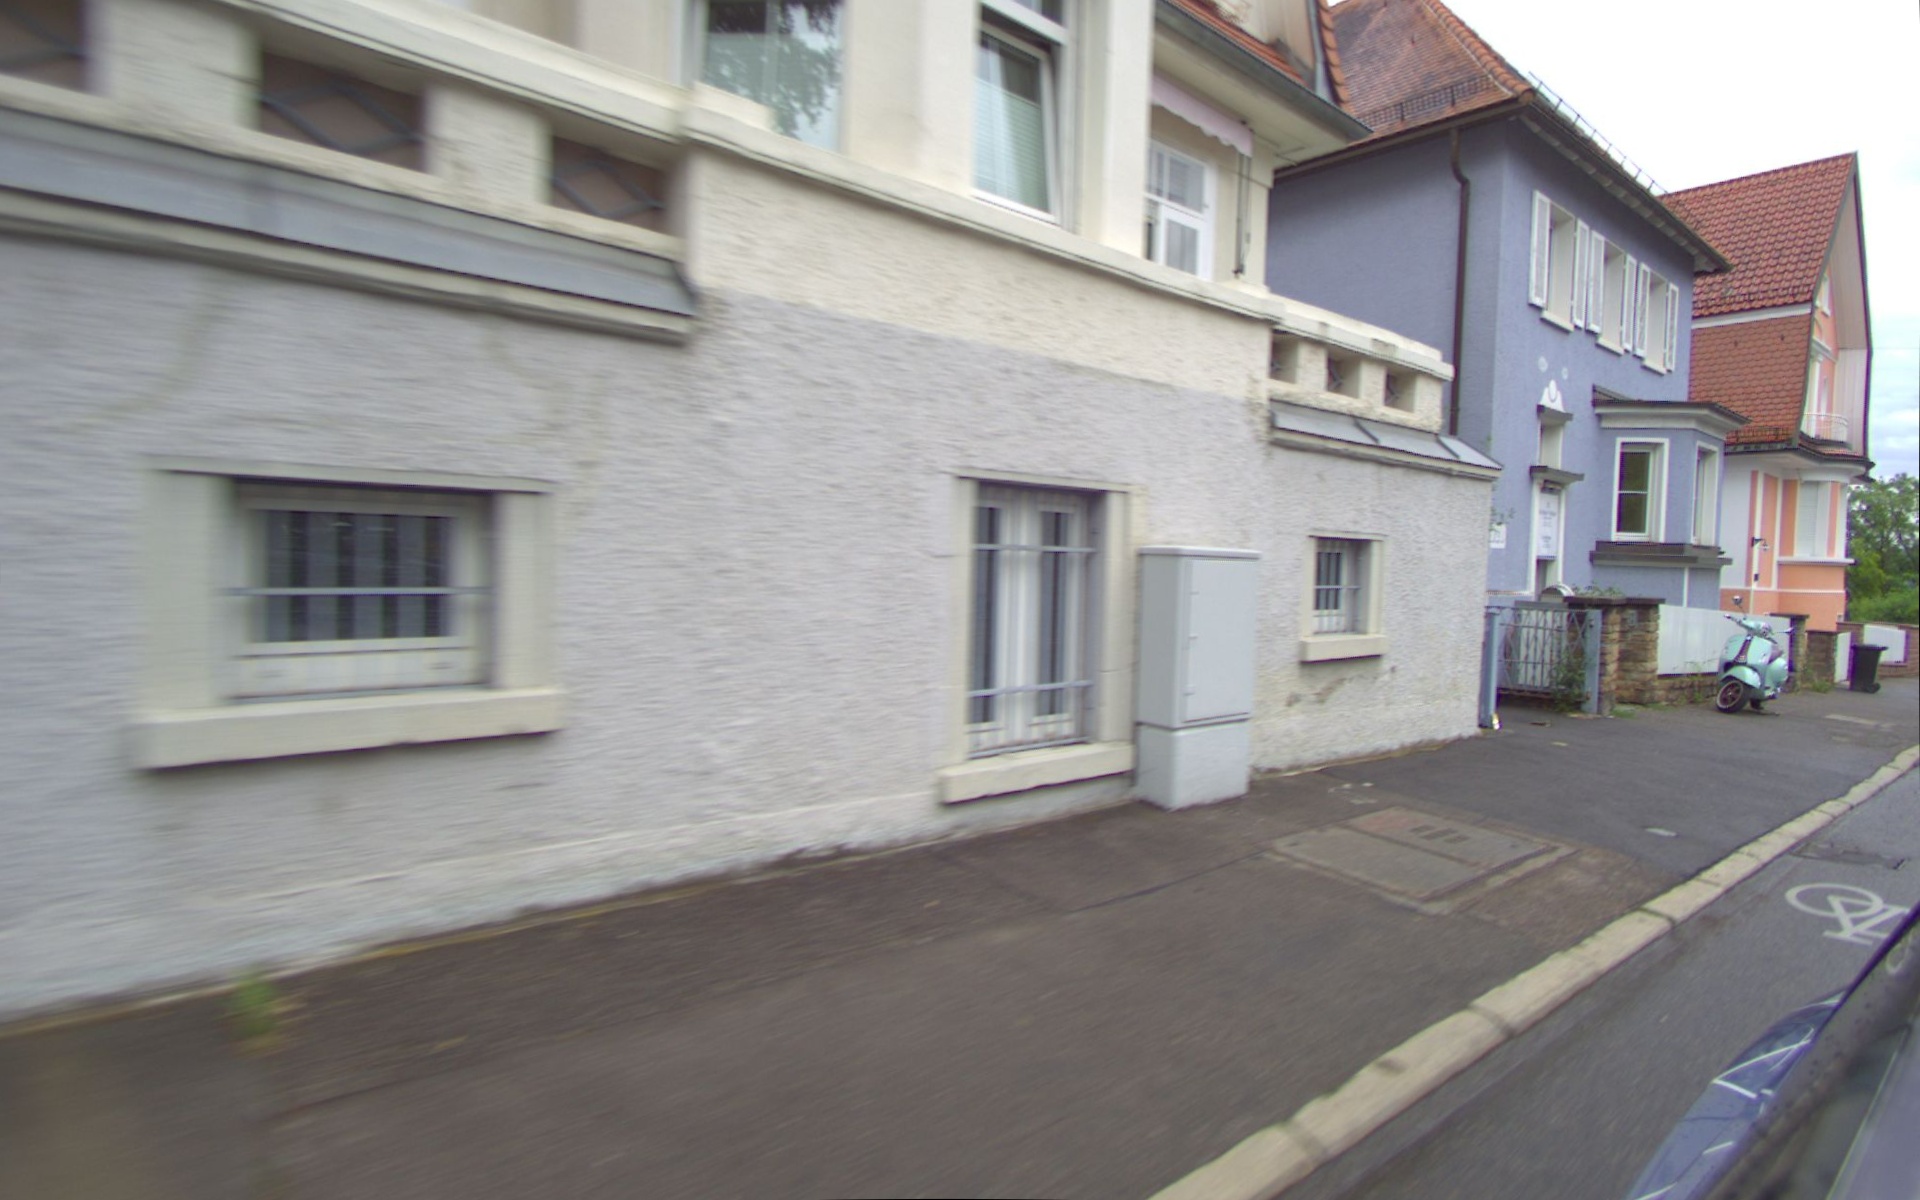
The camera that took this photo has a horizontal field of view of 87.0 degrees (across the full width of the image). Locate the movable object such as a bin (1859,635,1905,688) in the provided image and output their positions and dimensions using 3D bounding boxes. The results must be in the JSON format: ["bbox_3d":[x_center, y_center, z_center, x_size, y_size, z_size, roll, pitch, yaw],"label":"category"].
[{"bbox_3d":[17.663,1.170,19.391,0.480,0.929,0.533,2,3,-42],"label":"movable object such as a bin"}]

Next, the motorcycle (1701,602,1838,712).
[{"bbox_3d":[10.461,0.711,13.060,2.112,1.239,0.696,2,7,-36],"label":"motorcycle"}]
